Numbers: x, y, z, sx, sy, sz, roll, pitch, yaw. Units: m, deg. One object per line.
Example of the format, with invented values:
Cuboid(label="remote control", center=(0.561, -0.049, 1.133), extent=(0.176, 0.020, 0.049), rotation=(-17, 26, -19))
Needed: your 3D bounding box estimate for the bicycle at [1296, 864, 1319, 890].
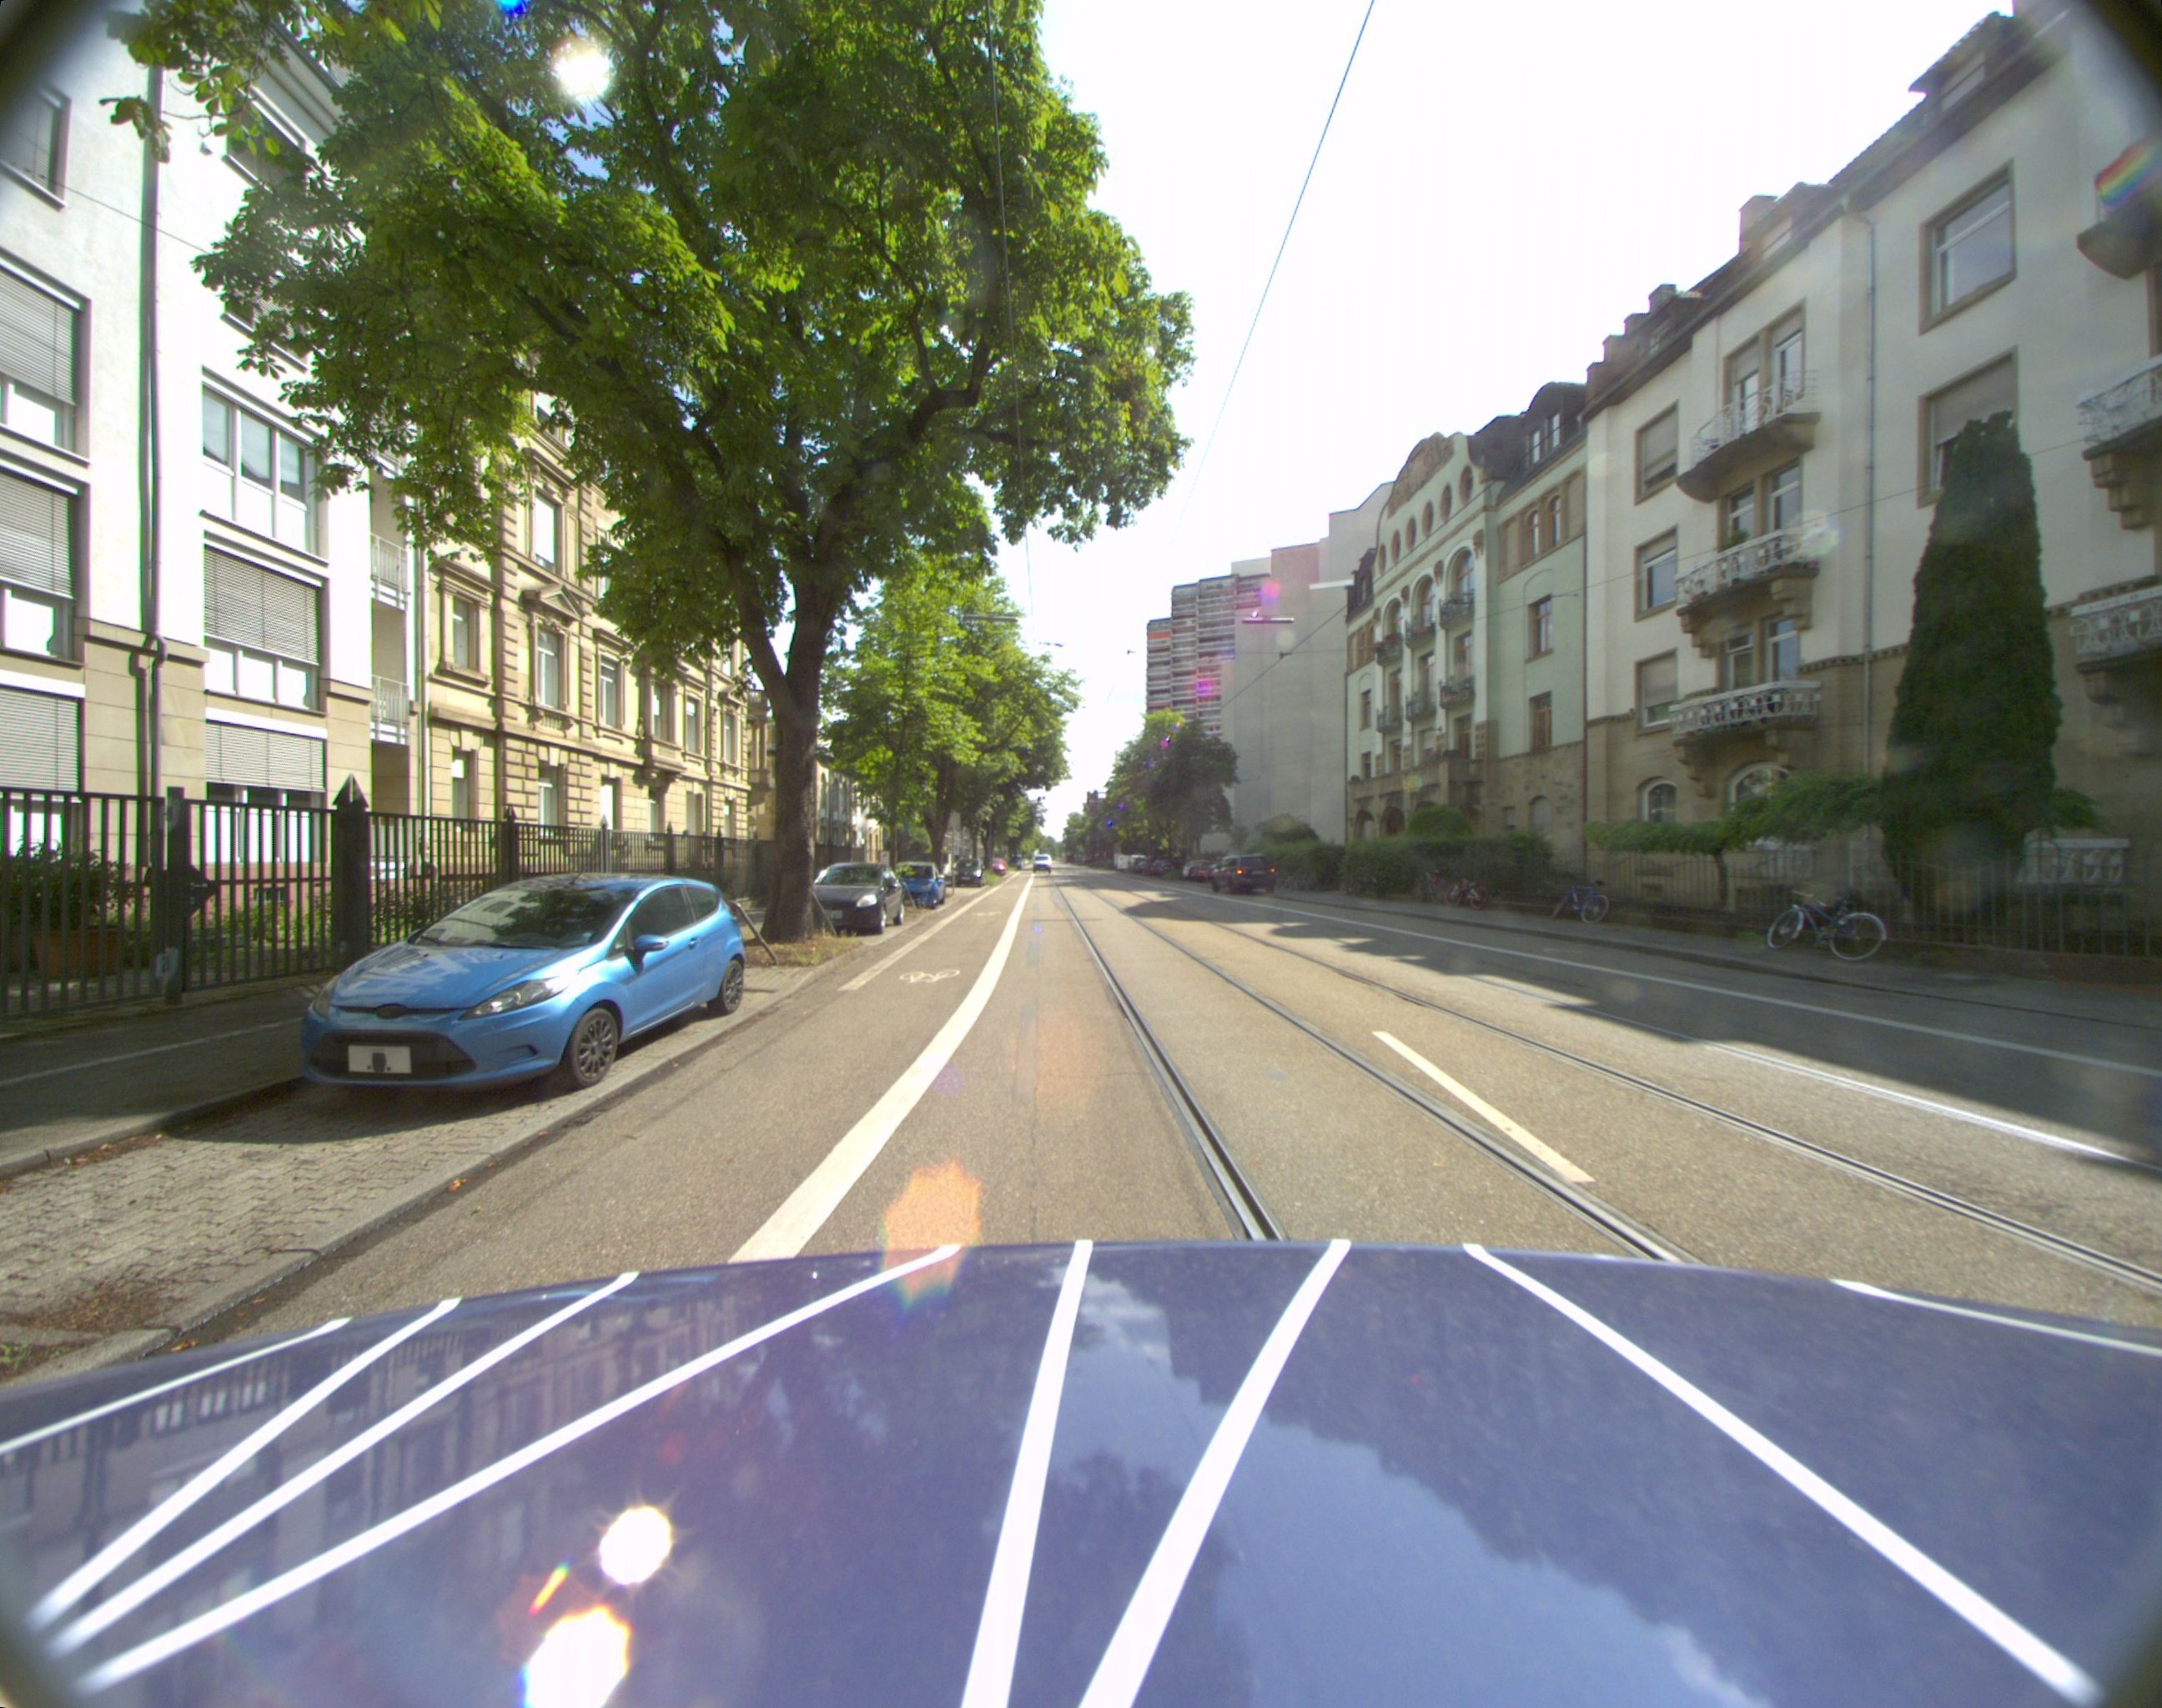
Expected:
Cuboid(label="bicycle", center=(10.136, 1.023, 34.082), extent=(0.468, 1.128, 1.787), rotation=(0, 0, -1))

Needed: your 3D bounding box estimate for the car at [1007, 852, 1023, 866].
Cuboid(label="car", center=(-7.895, 0.566, 91.047), extent=(1.744, 1.564, 3.928), rotation=(3, 0, -4))

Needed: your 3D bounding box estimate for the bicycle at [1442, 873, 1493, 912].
Cuboid(label="bicycle", center=(10.648, 1.040, 20.986), extent=(0.468, 0.990, 1.787), rotation=(0, 0, -1))

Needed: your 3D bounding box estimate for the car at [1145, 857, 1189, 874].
Cuboid(label="car", center=(7.863, 1.029, 69.285), extent=(3.994, 1.499, 2.001), rotation=(0, 0, 8))

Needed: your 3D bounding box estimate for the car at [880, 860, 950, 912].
Cuboid(label="car", center=(-5.340, 0.996, 24.842), extent=(1.679, 1.467, 3.659), rotation=(3, 0, -4))

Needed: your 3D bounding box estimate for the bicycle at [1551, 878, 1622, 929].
Cuboid(label="bicycle", center=(10.941, 1.051, 16.502), extent=(0.467, 0.990, 1.787), rotation=(0, 0, 5))

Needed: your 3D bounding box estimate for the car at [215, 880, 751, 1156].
Cuboid(label="car", center=(-4.323, 1.042, 6.329), extent=(1.647, 1.467, 3.660), rotation=(3, 0, -3))

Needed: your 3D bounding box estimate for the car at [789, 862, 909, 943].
Cuboid(label="car", center=(-4.926, 0.975, 16.627), extent=(1.679, 1.467, 3.659), rotation=(3, 0, -4))

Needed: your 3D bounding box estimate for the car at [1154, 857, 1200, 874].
Cuboid(label="car", center=(8.363, 0.991, 66.167), extent=(3.994, 1.499, 2.001), rotation=(0, 0, 8))

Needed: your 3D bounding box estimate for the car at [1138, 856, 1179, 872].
Cuboid(label="car", center=(7.781, 1.002, 75.655), extent=(3.994, 1.499, 2.001), rotation=(0, 0, 8))

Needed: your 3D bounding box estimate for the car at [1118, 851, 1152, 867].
Cuboid(label="car", center=(6.353, 0.566, 89.388), extent=(1.994, 1.740, 4.008), rotation=(-1, 1, 41))

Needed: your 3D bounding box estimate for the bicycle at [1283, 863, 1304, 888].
Cuboid(label="bicycle", center=(10.053, 1.003, 36.024), extent=(0.468, 1.128, 1.787), rotation=(0, 0, -1))

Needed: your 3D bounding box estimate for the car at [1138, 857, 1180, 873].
Cuboid(label="car", center=(7.455, 1.004, 72.494), extent=(3.994, 1.499, 2.001), rotation=(0, 0, 8))

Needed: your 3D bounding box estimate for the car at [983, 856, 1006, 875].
Cuboid(label="car", center=(-7.527, 0.960, 66.374), extent=(1.744, 1.564, 3.928), rotation=(3, 0, -4))

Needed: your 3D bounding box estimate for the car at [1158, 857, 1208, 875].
Cuboid(label="car", center=(8.463, 0.978, 63.011), extent=(3.994, 1.499, 2.001), rotation=(0, 0, 8))

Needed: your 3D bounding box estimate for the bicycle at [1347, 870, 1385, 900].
Cuboid(label="bicycle", center=(10.094, 1.069, 26.972), extent=(0.605, 0.990, 1.981), rotation=(0, 0, -1))

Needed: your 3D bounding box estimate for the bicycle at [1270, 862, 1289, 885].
Cuboid(label="bicycle", center=(9.951, 0.959, 38.121), extent=(0.468, 1.128, 1.787), rotation=(0, 0, -1))

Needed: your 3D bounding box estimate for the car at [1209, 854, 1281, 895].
Cuboid(label="car", center=(7.234, 0.857, 33.941), extent=(1.922, 1.685, 4.400), rotation=(0, 0, -5))

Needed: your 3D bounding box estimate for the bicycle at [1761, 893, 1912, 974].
Cuboid(label="bicycle", center=(11.092, 1.123, 11.258), extent=(0.467, 0.990, 1.979), rotation=(0, 0, 7))

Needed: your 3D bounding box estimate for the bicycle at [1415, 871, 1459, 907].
Cuboid(label="bicycle", center=(10.685, 1.034, 22.885), extent=(0.468, 0.990, 1.787), rotation=(0, 0, -1))

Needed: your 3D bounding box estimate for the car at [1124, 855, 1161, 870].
Cuboid(label="car", center=(6.777, 0.905, 83.554), extent=(3.994, 1.672, 2.001), rotation=(0, 0, 8))

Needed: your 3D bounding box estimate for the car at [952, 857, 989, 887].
Cuboid(label="car", center=(-6.255, 0.971, 43.418), extent=(1.744, 1.564, 3.659), rotation=(3, 0, -4))

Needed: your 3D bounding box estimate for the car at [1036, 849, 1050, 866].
Cuboid(label="car", center=(-5.888, 0.492, 119.184), extent=(2.146, 2.568, 4.817), rotation=(0, 0, -2))

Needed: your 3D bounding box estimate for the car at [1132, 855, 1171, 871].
Cuboid(label="car", center=(7.362, 0.922, 79.129), extent=(3.994, 1.672, 2.001), rotation=(0, 0, 8))

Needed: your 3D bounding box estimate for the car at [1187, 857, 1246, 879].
Cuboid(label="car", center=(9.476, 0.957, 53.415), extent=(3.994, 1.499, 2.001), rotation=(0, 0, 8))

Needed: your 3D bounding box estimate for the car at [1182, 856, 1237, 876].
Cuboid(label="car", center=(9.609, 0.875, 56.963), extent=(3.994, 1.499, 2.001), rotation=(0, 0, 8))

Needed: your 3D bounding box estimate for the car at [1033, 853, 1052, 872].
Cuboid(label="car", center=(-4.094, 0.882, 81.209), extent=(1.974, 1.901, 4.817), rotation=(0, 0, -2))

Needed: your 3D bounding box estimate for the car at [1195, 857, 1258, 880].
Cuboid(label="car", center=(9.513, 0.947, 49.907), extent=(3.994, 1.499, 2.001), rotation=(0, 0, 8))
